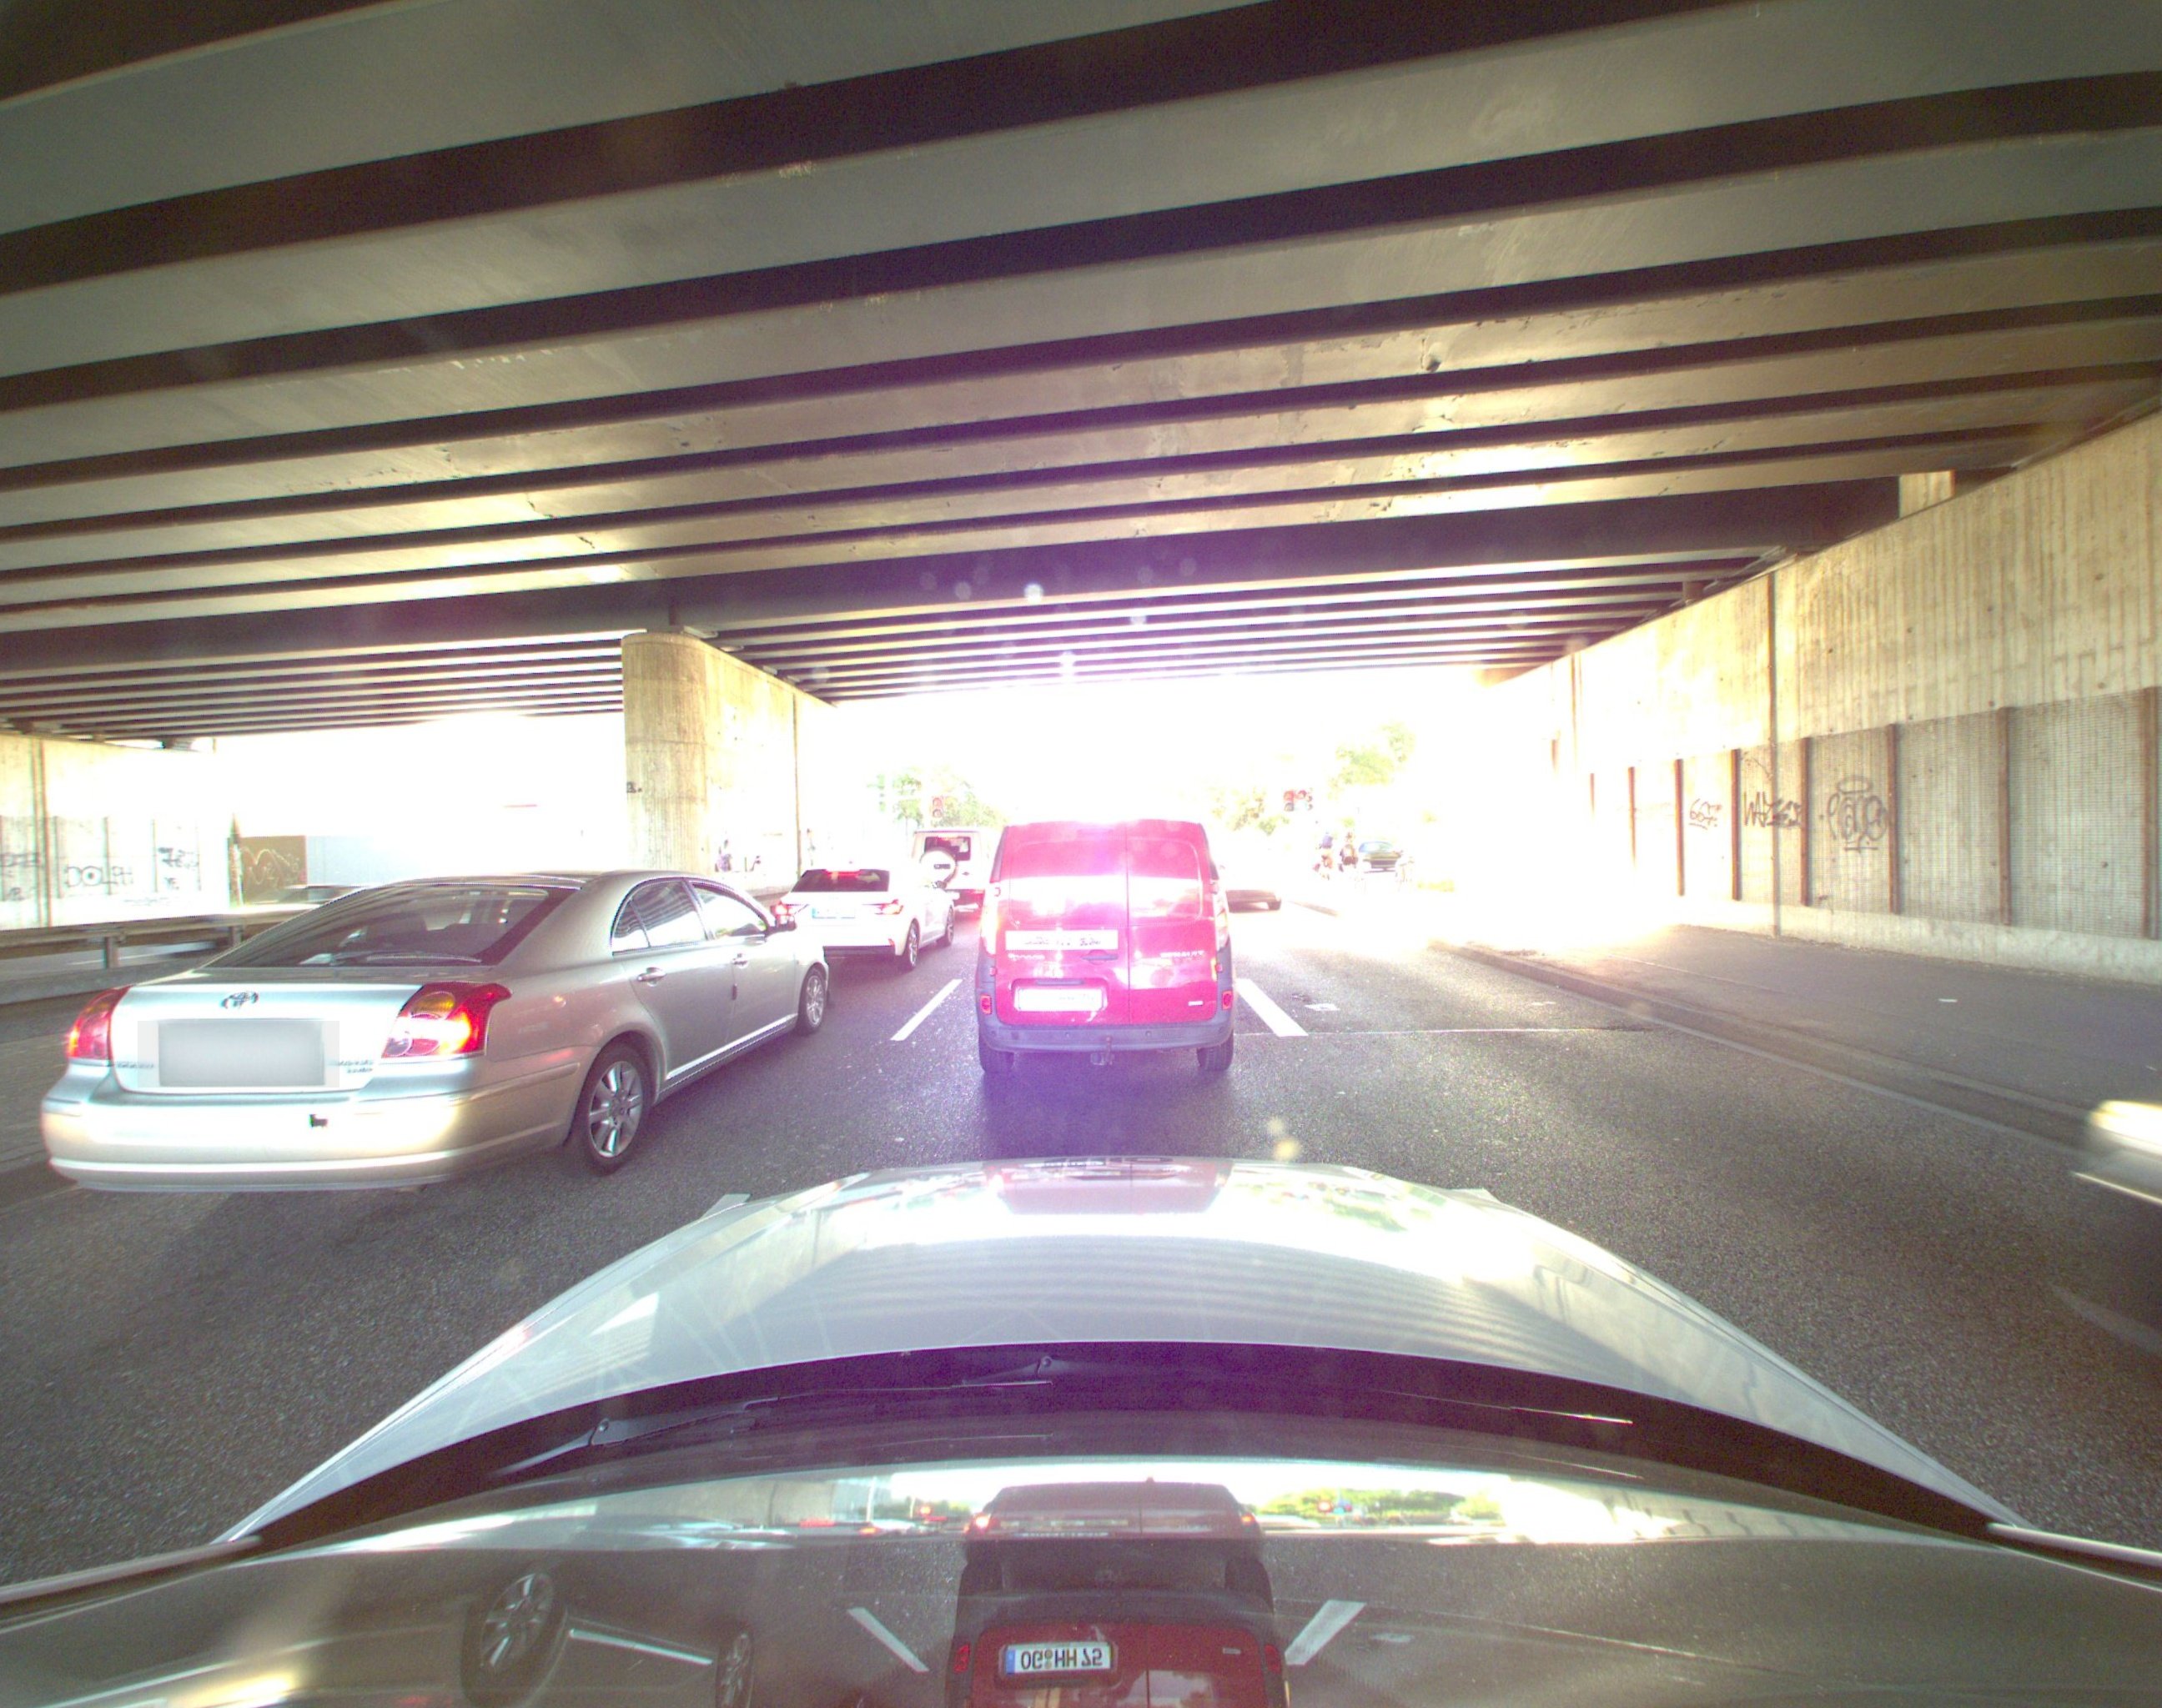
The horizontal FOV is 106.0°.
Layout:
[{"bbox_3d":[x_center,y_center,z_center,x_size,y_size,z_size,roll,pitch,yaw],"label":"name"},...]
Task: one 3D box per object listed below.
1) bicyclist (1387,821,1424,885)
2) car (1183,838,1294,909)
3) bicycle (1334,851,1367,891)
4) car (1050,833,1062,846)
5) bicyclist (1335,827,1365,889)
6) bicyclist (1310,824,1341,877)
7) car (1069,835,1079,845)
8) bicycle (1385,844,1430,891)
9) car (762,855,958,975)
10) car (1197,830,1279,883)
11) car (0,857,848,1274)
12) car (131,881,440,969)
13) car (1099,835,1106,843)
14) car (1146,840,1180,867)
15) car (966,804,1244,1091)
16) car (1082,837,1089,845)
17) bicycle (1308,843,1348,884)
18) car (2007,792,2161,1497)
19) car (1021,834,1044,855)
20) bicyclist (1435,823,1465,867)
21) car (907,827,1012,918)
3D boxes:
[{"bbox_3d":[8.245,-0.021,20.709,0.666,1.561,0.737,-2,-1,7],"label":"bicyclist"},{"bbox_3d":[3.729,0.435,20.102,1.986,1.551,4.422,0,0,1],"label":"car"},{"bbox_3d":[7.147,0.435,21.656,0.672,1.024,1.534,0,0,12],"label":"bicycle"},{"bbox_3d":[-4.065,-2.381,132.797,1.741,2.014,3.846,0,0,2],"label":"car"},{"bbox_3d":[7.144,0.115,21.649,0.673,1.629,0.646,0,-1,12],"label":"bicyclist"},{"bbox_3d":[7.286,-0.104,24.244,0.646,1.534,0.852,-1,0,32],"label":"bicyclist"},{"bbox_3d":[-1.587,-2.916,174.451,1.986,2.014,4.001,0,0,2],"label":"car"},{"bbox_3d":[8.243,0.330,20.620,0.677,1.113,1.607,-2,-1,8],"label":"bicycle"},{"bbox_3d":[-2.938,0.730,11.678,1.686,1.410,3.814,0,0,1],"label":"car"},{"bbox_3d":[6.006,0.090,30.672,1.880,1.836,4.863,0,0,25],"label":"car"},{"bbox_3d":[-2.994,0.769,5.124,1.690,1.455,4.399,0,0,1],"label":"car"},{"bbox_3d":[-14.222,1.189,14.948,1.678,1.175,4.000,-3,0,0],"label":"car"},{"bbox_3d":[5.867,-4.012,220.914,1.986,2.014,4.001,0,0,2],"label":"car"},{"bbox_3d":[4.766,-0.033,47.621,1.739,1.456,3.718,0,0,2],"label":"car"},{"bbox_3d":[0.212,0.575,7.048,1.712,1.764,4.002,0,0,2],"label":"car"},{"bbox_3d":[1.204,-3.596,222.624,1.922,2.014,3.915,0,0,2],"label":"car"},{"bbox_3d":[7.418,0.278,24.427,0.644,1.167,1.789,-1,0,33],"label":"bicycle"},{"bbox_3d":[3.361,0.646,0.120,1.769,1.601,4.103,0,0,-1],"label":"car"},{"bbox_3d":[-4.770,-0.904,80.776,1.986,2.014,4.001,0,0,2],"label":"car"},{"bbox_3d":[14.067,-0.344,31.036,0.891,1.655,0.740,0,0,-43],"label":"bicyclist"},{"bbox_3d":[-2.712,0.380,19.050,1.807,1.904,3.814,0,0,1],"label":"car"}]
